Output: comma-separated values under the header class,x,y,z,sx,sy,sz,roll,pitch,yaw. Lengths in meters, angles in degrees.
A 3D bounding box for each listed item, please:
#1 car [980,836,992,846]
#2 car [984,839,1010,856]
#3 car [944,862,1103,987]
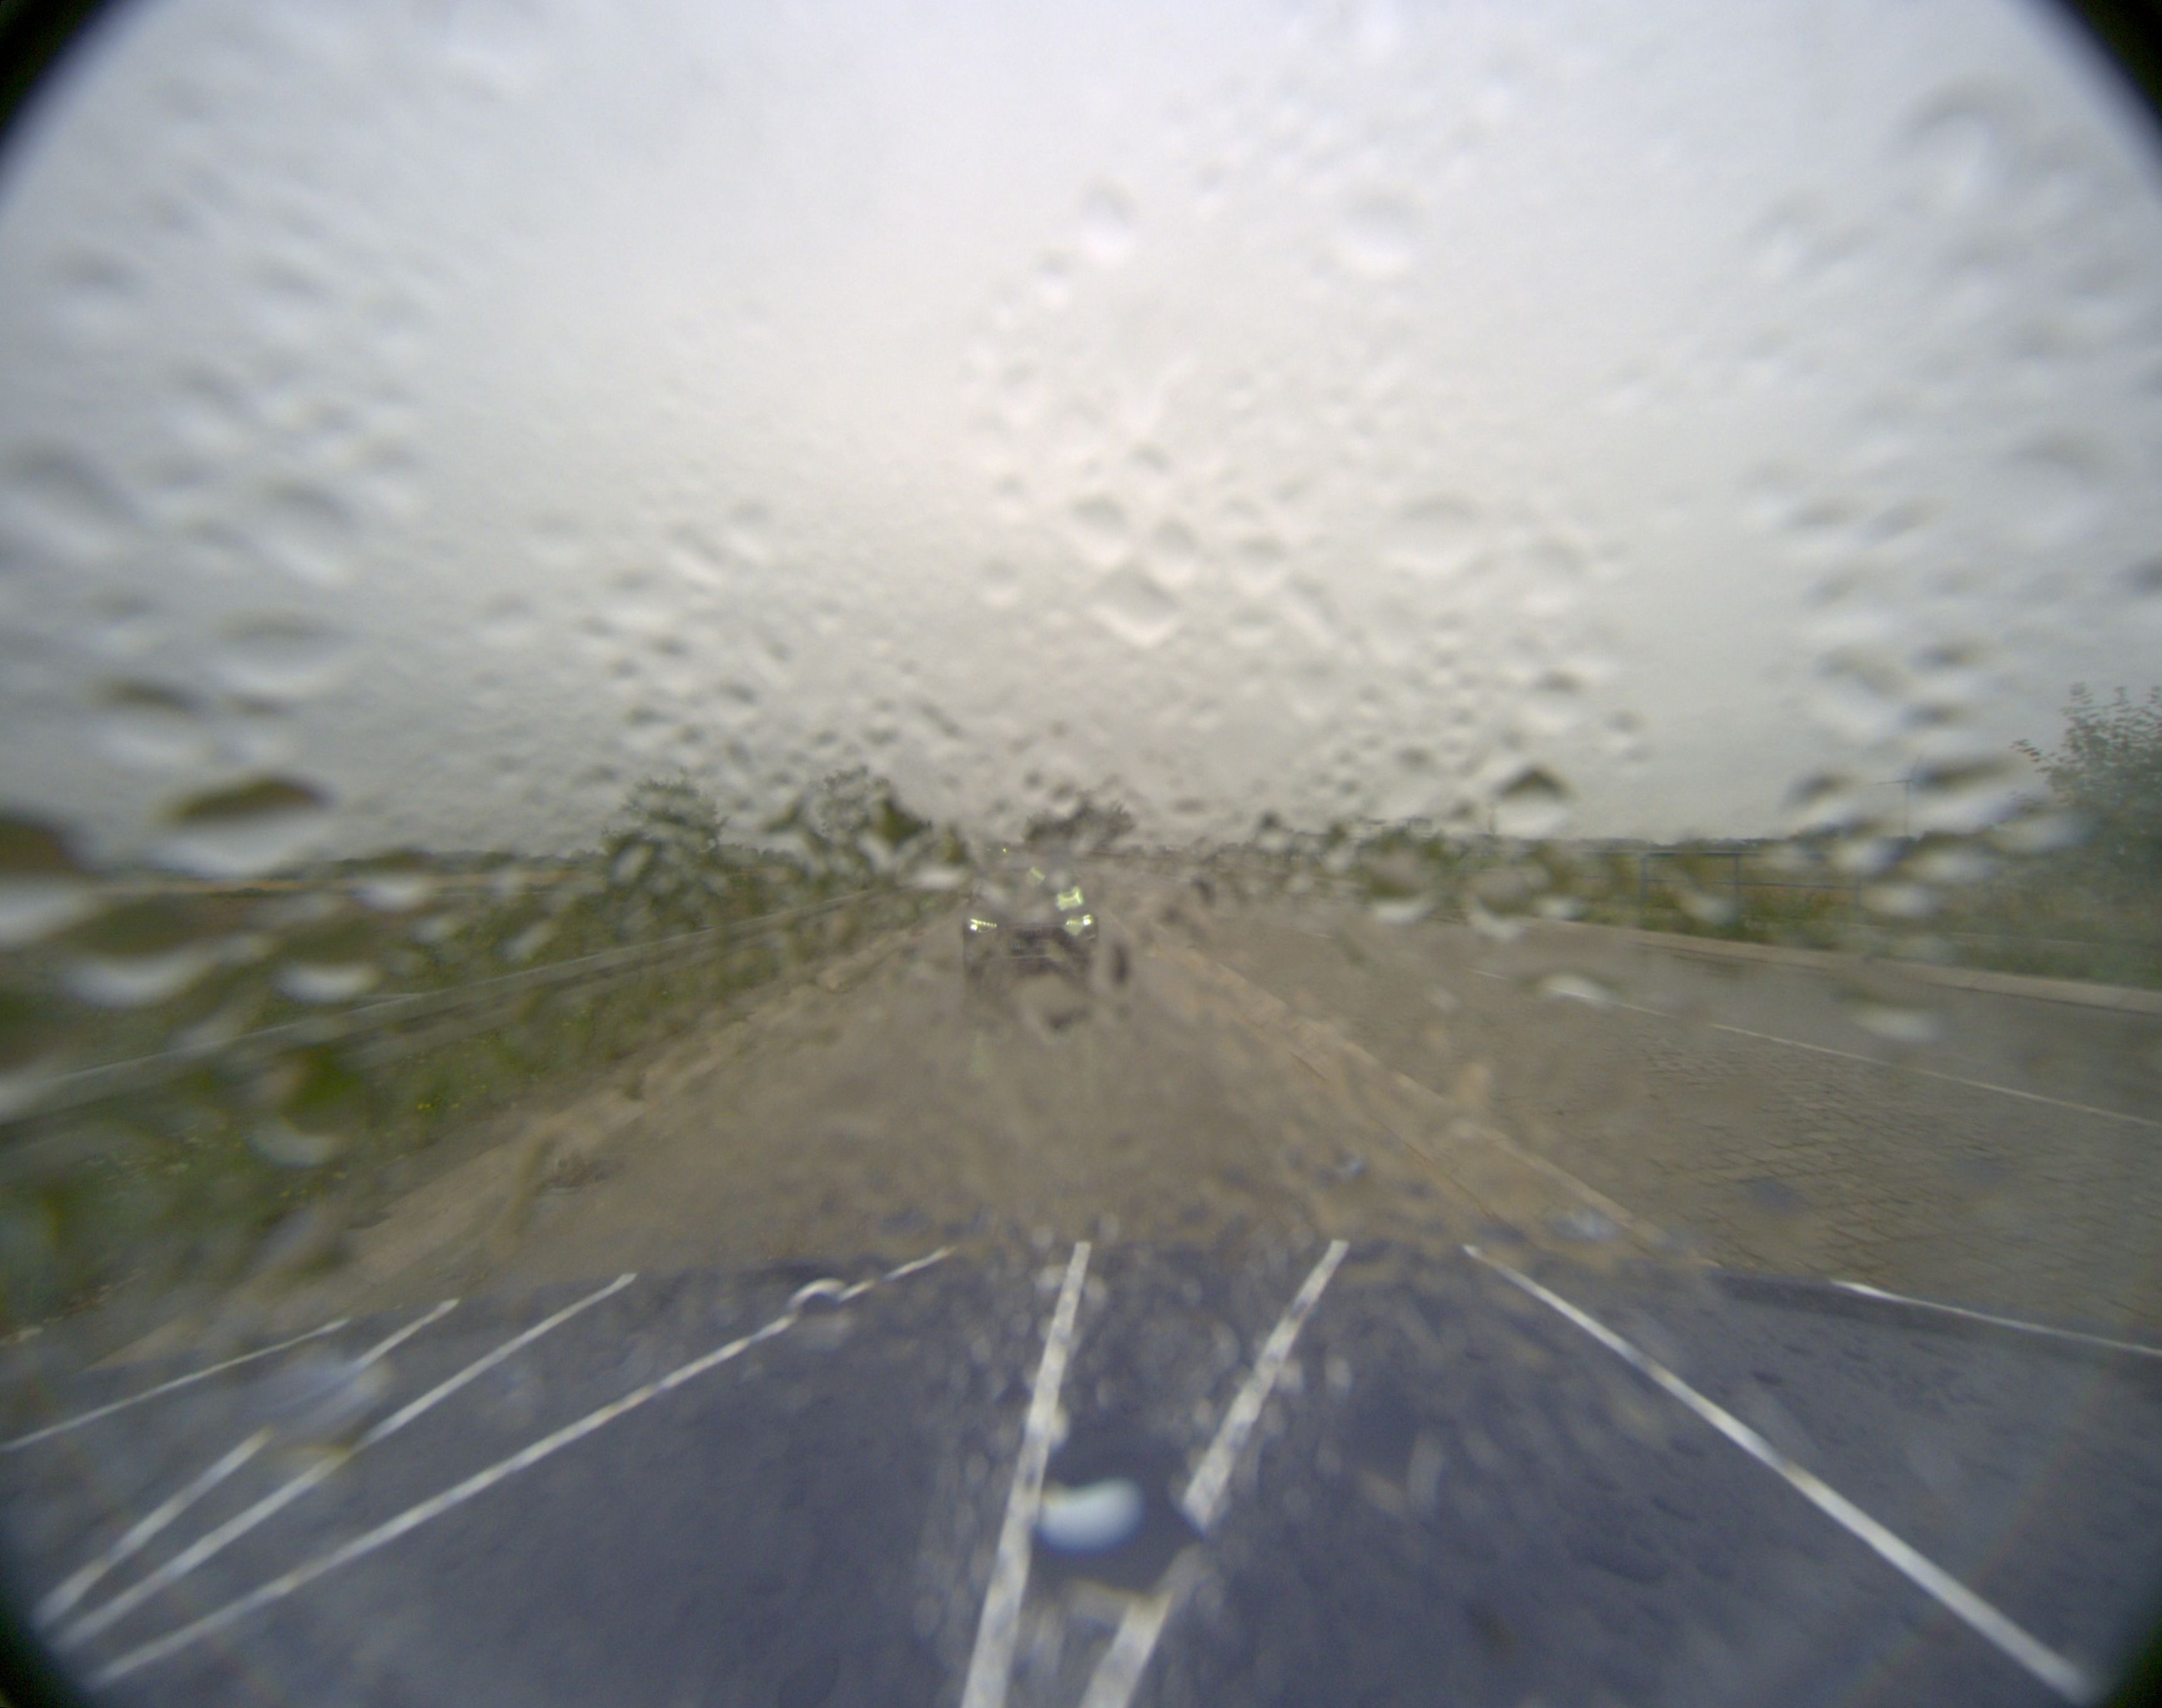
class,x,y,z,sx,sy,sz,roll,pitch,yaw
car,-15.729,-2.133,125.311,1.787,1.517,4.163,0,2,-10
car,-7.283,-0.554,65.549,1.911,1.361,4.560,-1,1,-9
car,-0.650,0.899,11.642,1.909,1.361,4.564,-2,1,1
